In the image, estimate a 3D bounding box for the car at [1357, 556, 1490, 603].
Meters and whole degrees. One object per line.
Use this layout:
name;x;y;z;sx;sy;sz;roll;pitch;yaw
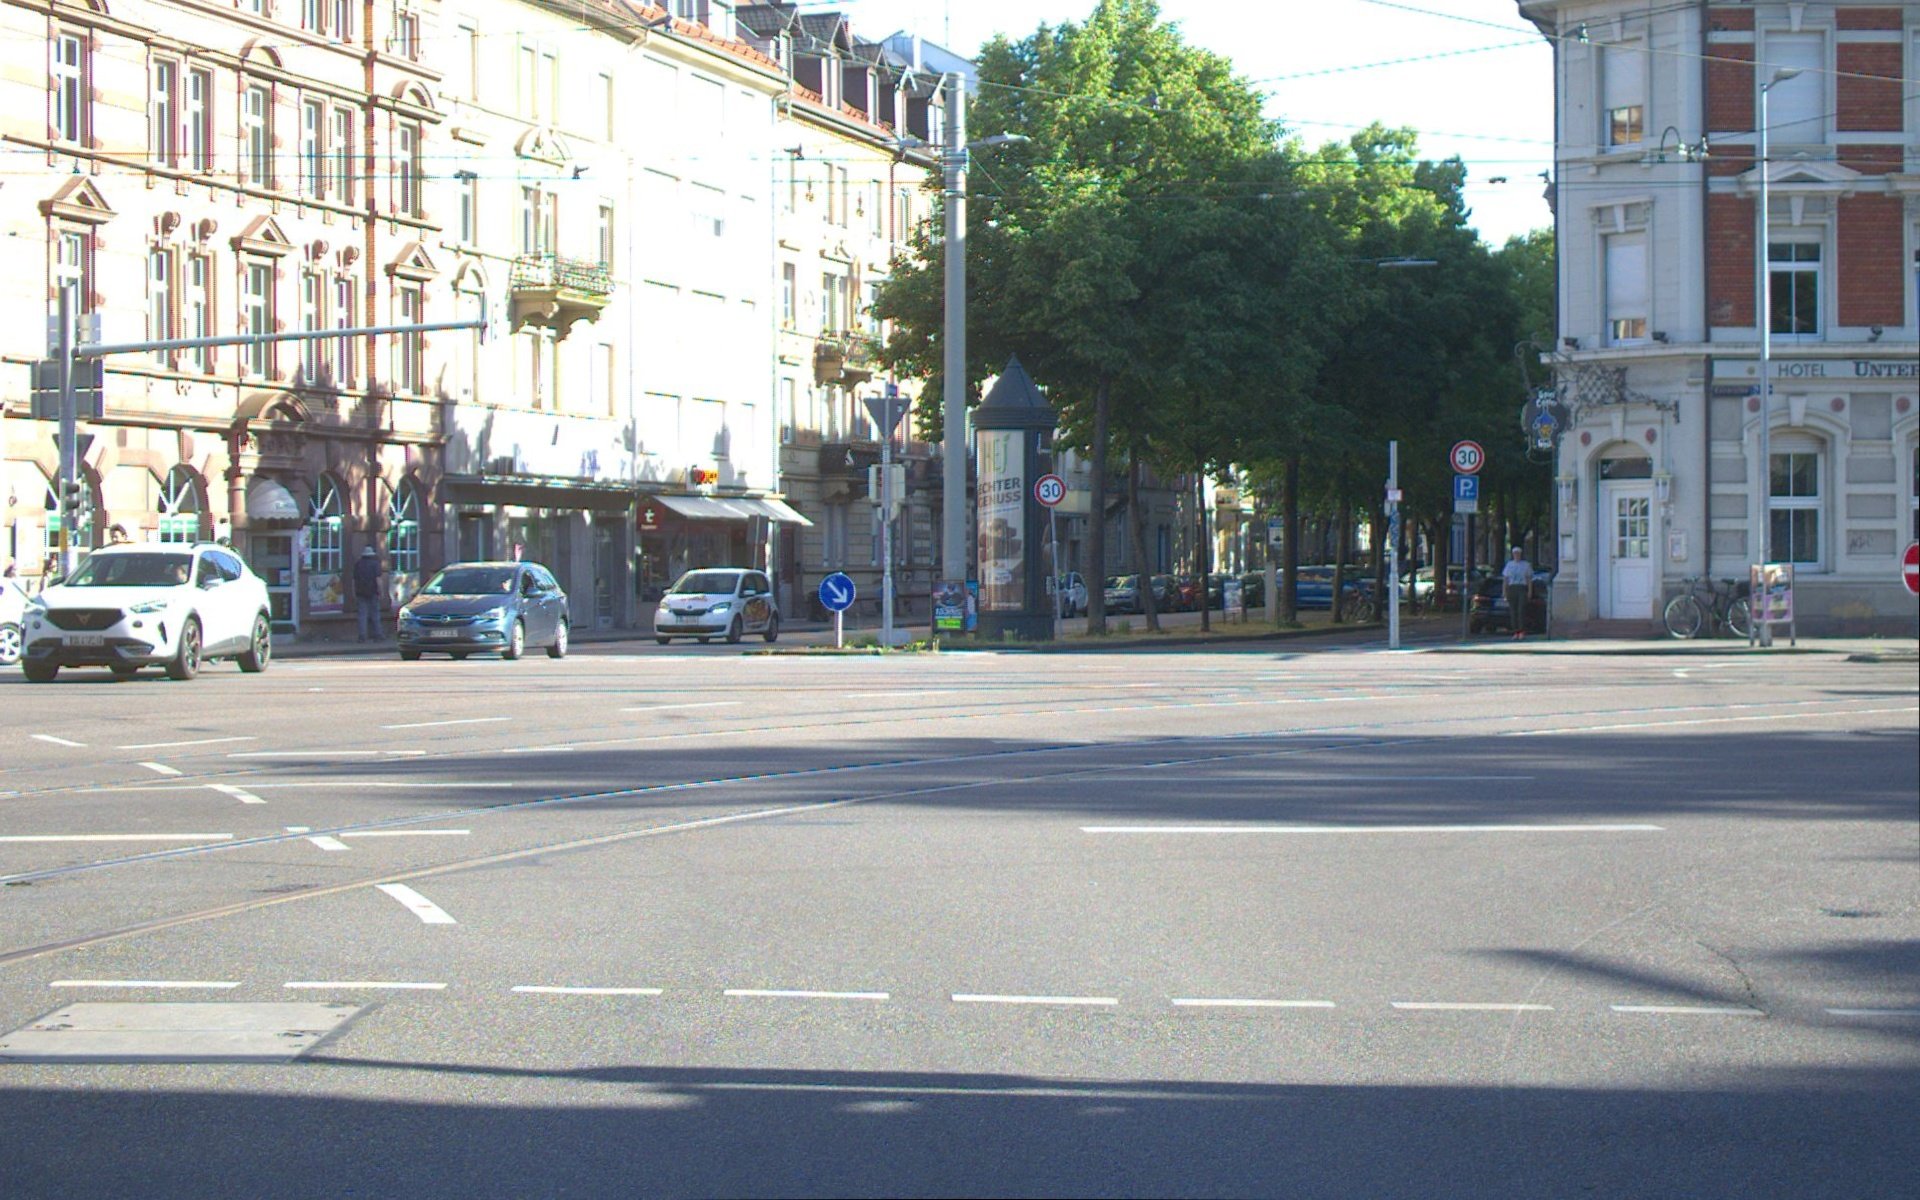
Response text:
car;15.716;-0.701;116.516;3.994;1.540;1.997;0;1;31

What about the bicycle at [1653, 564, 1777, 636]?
bicycle;12.553;-0.002;57.180;1.961;1.186;0.546;0;1;5

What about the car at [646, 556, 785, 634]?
car;-4.806;-0.120;67.945;1.719;1.492;3.581;0;1;14

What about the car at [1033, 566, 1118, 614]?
car;3.808;-0.343;112.878;1.995;1.492;4.031;0;1;14

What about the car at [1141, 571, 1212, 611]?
car;8.316;-0.361;131.794;1.995;1.492;4.031;0;1;14

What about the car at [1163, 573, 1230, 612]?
car;9.413;-0.319;136.536;1.995;1.492;4.031;0;1;14

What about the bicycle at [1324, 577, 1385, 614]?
bicycle;11.377;-0.136;99.254;0.582;1.063;1.949;-1;1;-37

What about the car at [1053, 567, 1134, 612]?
car;4.585;-0.377;117.365;1.995;1.492;4.031;0;1;14

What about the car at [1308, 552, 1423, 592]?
car;15.850;-1.106;134.457;3.993;1.540;1.997;0;1;28

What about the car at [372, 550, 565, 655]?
car;-7.325;0.005;51.657;1.774;1.492;4.572;0;1;6

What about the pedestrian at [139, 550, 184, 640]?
pedestrian;-14.585;-0.096;62.789;0.551;1.636;0.632;0;1;14

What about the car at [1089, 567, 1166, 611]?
car;5.977;-0.407;122.601;1.995;1.492;4.031;0;1;14

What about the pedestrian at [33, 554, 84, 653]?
pedestrian;-14.996;0.061;57.205;0.631;1.636;0.552;0;1;13

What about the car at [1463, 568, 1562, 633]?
car;13.268;-0.006;82.419;1.995;1.492;4.031;0;1;14

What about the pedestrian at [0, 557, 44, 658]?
pedestrian;-15.385;0.120;56.061;0.675;1.636;0.578;0;1;13

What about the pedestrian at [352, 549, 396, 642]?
pedestrian;-12.043;-0.091;70.685;0.682;1.902;0.632;0;1;16

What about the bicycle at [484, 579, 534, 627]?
bicycle;-10.432;0.066;79.559;0.495;1.063;1.768;0;1;16

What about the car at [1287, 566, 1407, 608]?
car;14.443;-0.500;128.309;3.993;1.540;1.997;0;1;28

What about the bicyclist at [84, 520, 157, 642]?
bicyclist;-10.905;-0.253;44.637;0.714;1.554;0.987;-1;1;-26

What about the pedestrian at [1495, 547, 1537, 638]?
pedestrian;10.244;-0.138;63.335;0.716;1.664;0.939;0;1;12

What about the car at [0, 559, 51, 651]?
car;-15.647;0.091;50.250;1.998;1.350;4.213;0;1;37

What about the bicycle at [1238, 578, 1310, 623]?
bicycle;7.546;0.002;82.762;0.582;1.063;1.949;-1;1;-37

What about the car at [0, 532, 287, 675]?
car;-9.092;0.001;38.328;1.994;1.492;4.347;0;1;5

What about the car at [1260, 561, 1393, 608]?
car;12.320;-0.524;115.667;3.993;1.540;1.997;0;1;28
